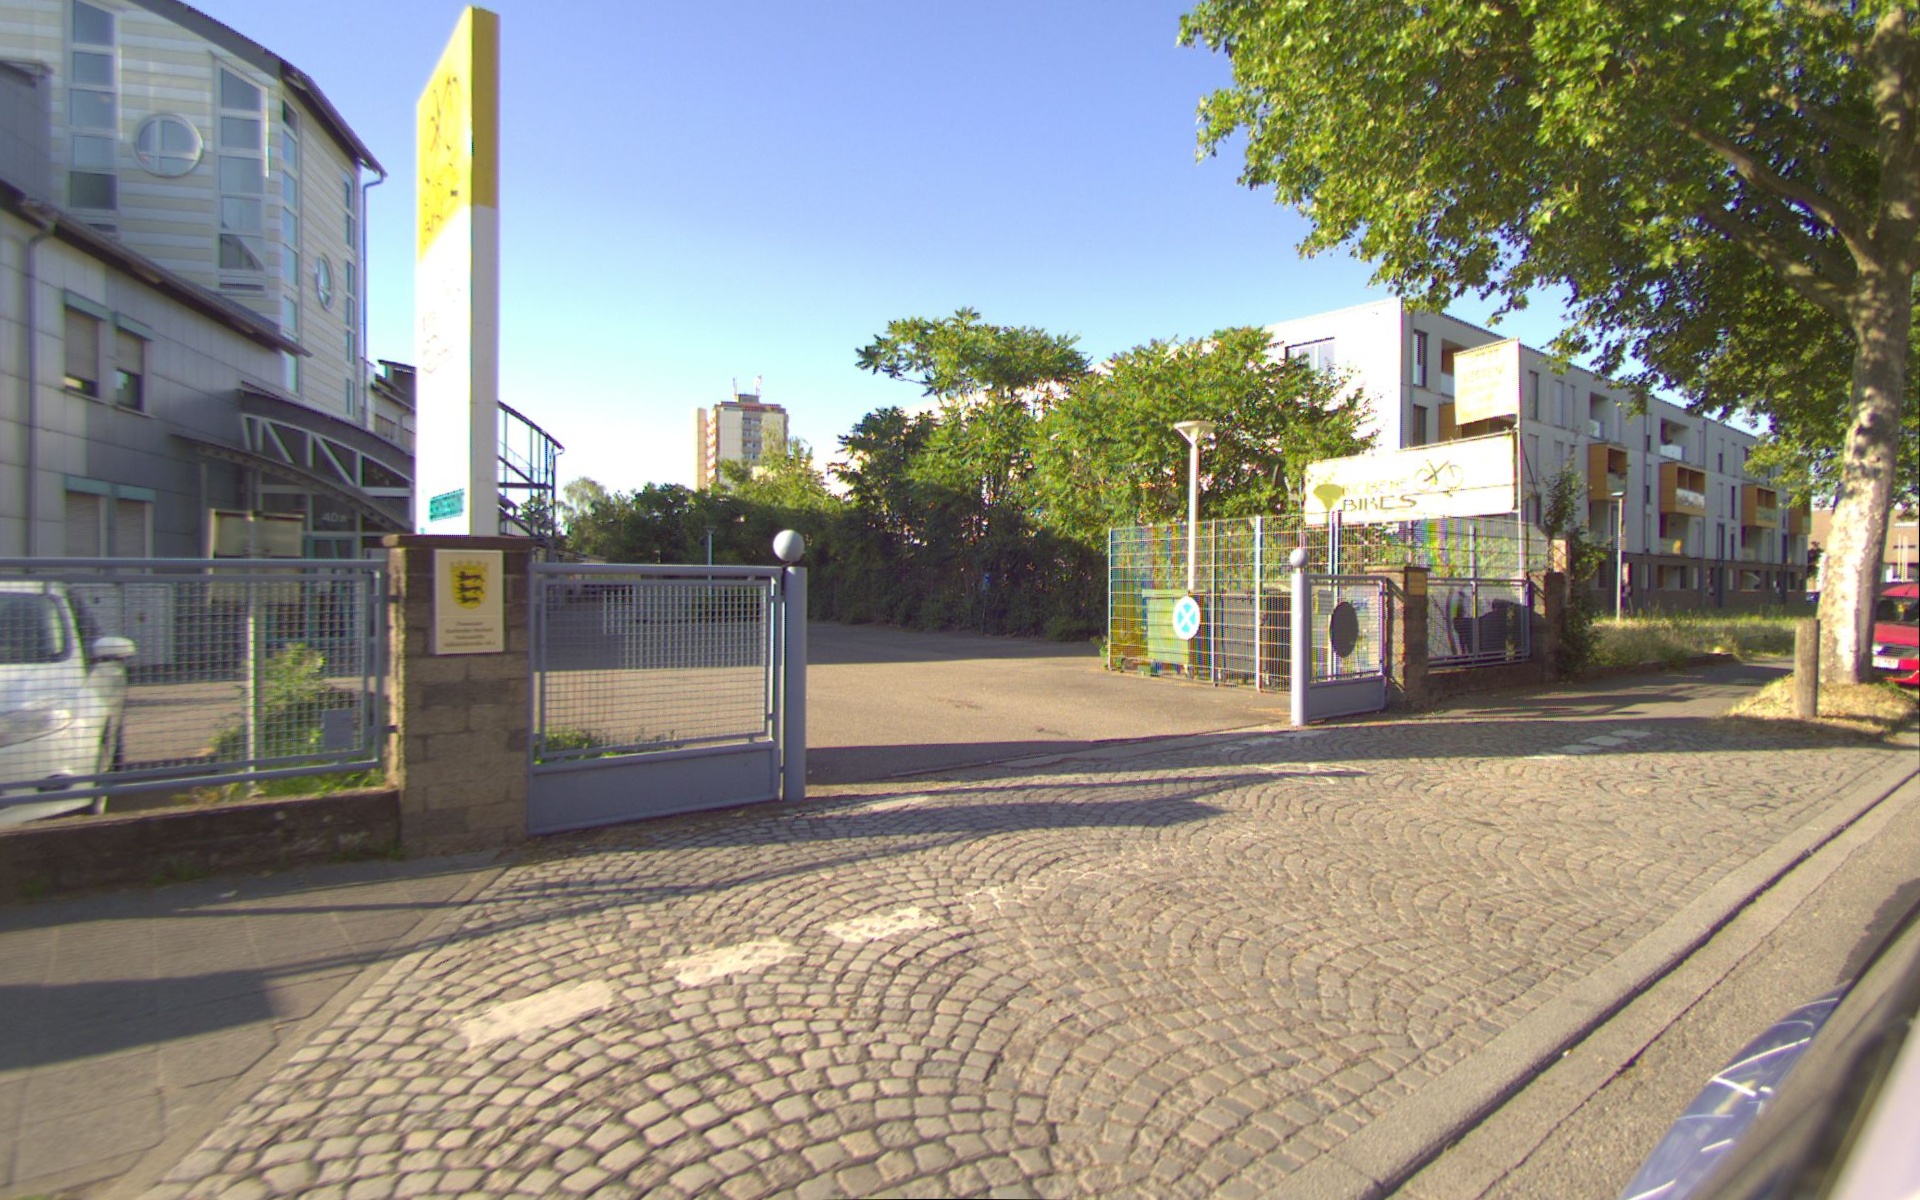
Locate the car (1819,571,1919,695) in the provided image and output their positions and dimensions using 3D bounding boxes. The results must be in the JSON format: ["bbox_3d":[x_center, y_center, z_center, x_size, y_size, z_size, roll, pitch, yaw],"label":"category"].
[{"bbox_3d":[14.762,0.436,15.538,4.258,1.710,1.602,-1,2,-39],"label":"car"}]

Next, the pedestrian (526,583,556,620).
[{"bbox_3d":[-20.205,0.065,48.835,0.993,1.777,0.875,-1,0,11],"label":"pedestrian"}]

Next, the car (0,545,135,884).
[{"bbox_3d":[-6.120,0.547,5.977,1.808,1.579,3.997,-1,0,-38],"label":"car"}]

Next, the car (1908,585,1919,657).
[{"bbox_3d":[22.513,0.471,22.195,4.610,1.499,1.706,0,4,-37],"label":"car"}]
